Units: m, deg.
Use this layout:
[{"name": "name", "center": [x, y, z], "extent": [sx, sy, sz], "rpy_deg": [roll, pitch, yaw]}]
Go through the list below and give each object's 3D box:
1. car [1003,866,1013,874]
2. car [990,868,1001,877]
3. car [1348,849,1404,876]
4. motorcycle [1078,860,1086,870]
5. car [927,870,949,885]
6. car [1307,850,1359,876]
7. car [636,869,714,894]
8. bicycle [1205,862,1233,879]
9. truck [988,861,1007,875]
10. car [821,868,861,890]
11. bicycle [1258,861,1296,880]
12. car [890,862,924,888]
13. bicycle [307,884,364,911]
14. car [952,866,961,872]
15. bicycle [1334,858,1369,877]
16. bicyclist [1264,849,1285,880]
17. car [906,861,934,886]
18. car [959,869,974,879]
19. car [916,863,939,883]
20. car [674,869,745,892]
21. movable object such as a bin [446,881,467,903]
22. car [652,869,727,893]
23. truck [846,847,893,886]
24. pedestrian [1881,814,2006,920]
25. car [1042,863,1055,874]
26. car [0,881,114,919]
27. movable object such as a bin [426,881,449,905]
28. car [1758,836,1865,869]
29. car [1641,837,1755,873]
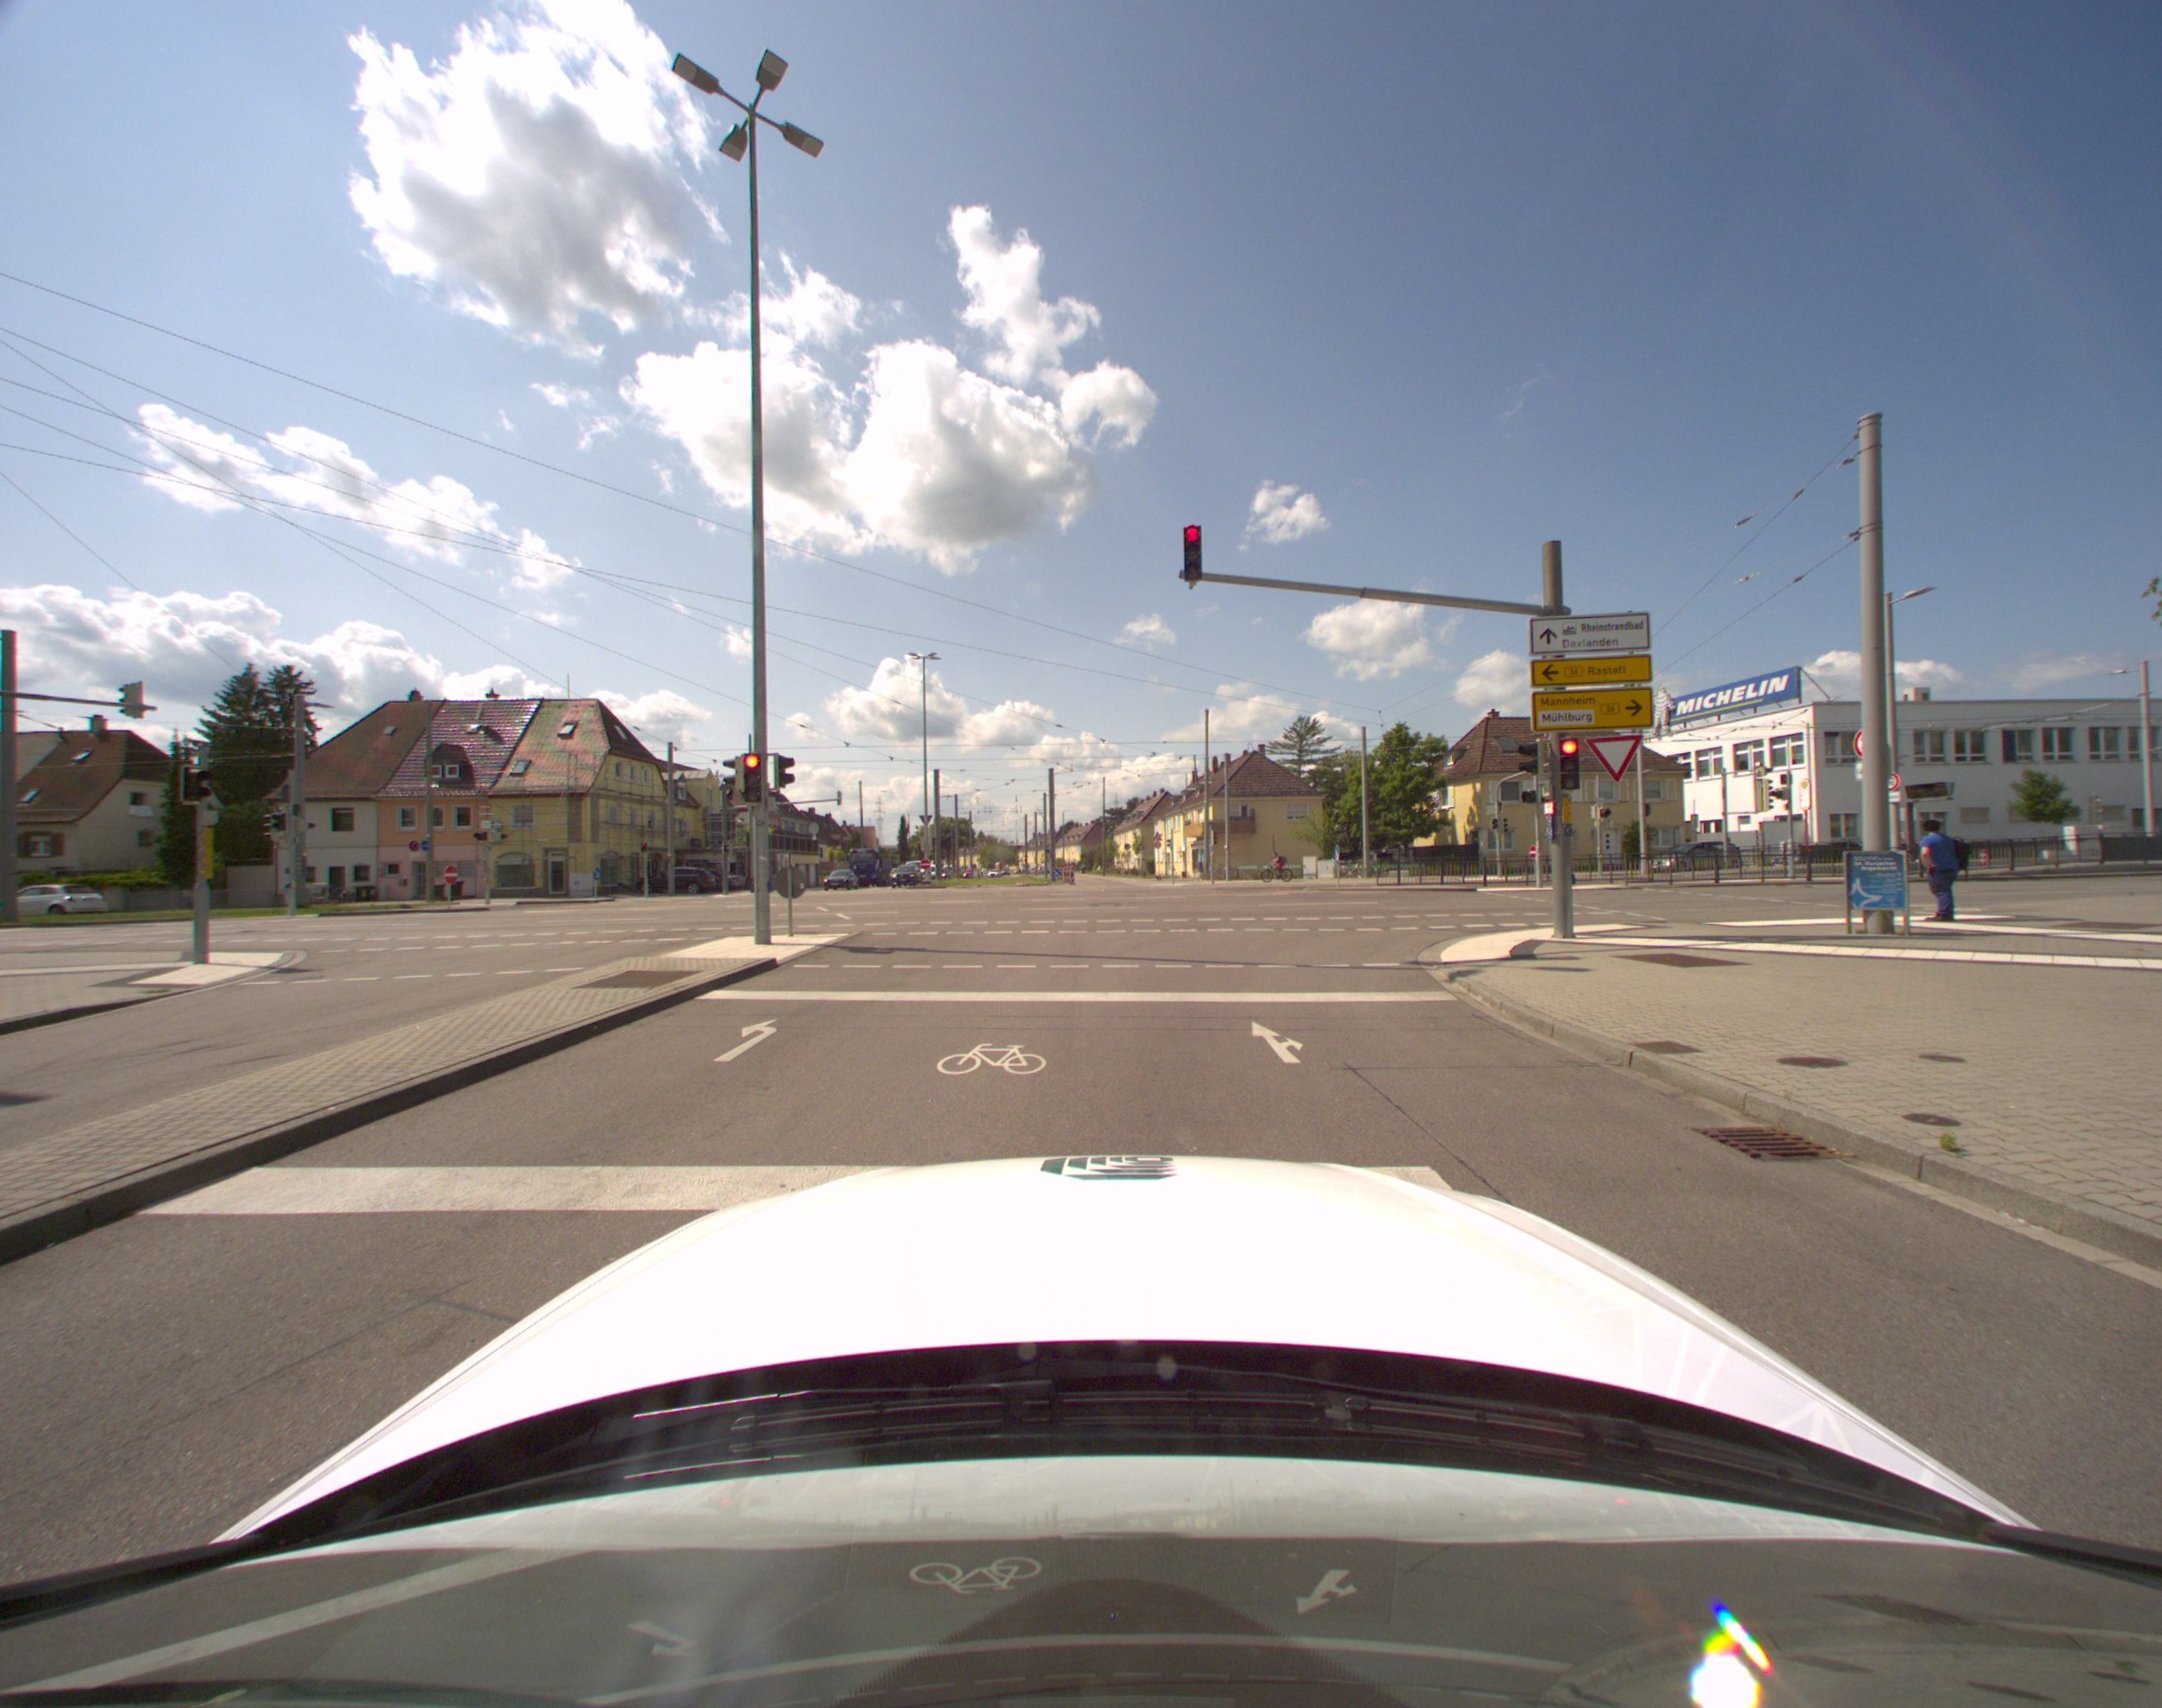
[{"name": "car", "center": [-15.423, 3.280, 171.636], "extent": [1.814, 1.552, 3.997], "rpy_deg": [-2, 0, -2]}, {"name": "car", "center": [-15.279, 3.304, 145.297], "extent": [1.840, 1.562, 4.180], "rpy_deg": [-2, -1, -5]}, {"name": "car", "center": [19.765, 0.586, 54.714], "extent": [1.821, 1.621, 3.989], "rpy_deg": [-1, -2, -8]}, {"name": "motorcycle", "center": [0.210, 1.812, 132.206], "extent": [1.065, 1.635, 2.079], "rpy_deg": [-1, -1, -6]}, {"name": "car", "center": [-14.252, 2.340, 81.290], "extent": [1.912, 1.419, 3.991], "rpy_deg": [-1, -1, -6]}, {"name": "car", "center": [16.975, 0.656, 55.144], "extent": [1.821, 1.621, 3.989], "rpy_deg": [-1, -2, -8]}, {"name": "car", "center": [-25.086, 1.715, 50.370], "extent": [4.129, 1.493, 1.176], "rpy_deg": [0, -1, -7]}, {"name": "bicycle", "center": [9.385, 1.135, 55.628], "extent": [0.596, 1.096, 2.255], "rpy_deg": [-1, -1, -28]}, {"name": "truck", "center": [-22.413, 3.830, 218.307], "extent": [2.651, 3.494, 9.368], "rpy_deg": [-1, -1, -21]}, {"name": "car", "center": [-17.236, 1.791, 58.642], "extent": [1.824, 1.487, 4.328], "rpy_deg": [-1, -1, -3]}, {"name": "bicycle", "center": [11.453, 0.963, 47.676], "extent": [2.025, 1.102, 0.713], "rpy_deg": [-1, -1, -8]}, {"name": "car", "center": [-12.778, 1.504, 60.018], "extent": [1.783, 1.720, 4.434], "rpy_deg": [-1, 0, -5]}, {"name": "bicycle", "center": [-40.804, 2.358, 44.640], "extent": [0.770, 1.356, 2.460], "rpy_deg": [0, -1, 3]}, {"name": "car", "center": [-38.817, 4.732, 253.437], "extent": [2.000, 1.910, 3.973], "rpy_deg": [-1, 0, -20]}, {"name": "bicycle", "center": [16.043, 0.809, 48.293], "extent": [1.785, 1.105, 0.707], "rpy_deg": [-2, -1, 41]}, {"name": "bicyclist", "center": [11.367, 0.636, 47.898], "extent": [0.956, 1.775, 0.718], "rpy_deg": [-1, -1, -7]}, {"name": "car", "center": [-13.104, 1.542, 66.446], "extent": [1.812, 1.922, 4.737], "rpy_deg": [-1, -1, -6]}, {"name": "car", "center": [-16.836, 2.913, 119.800], "extent": [1.840, 1.494, 4.847], "rpy_deg": [-2, -1, -5]}, {"name": "car", "center": [-13.977, 1.737, 74.341], "extent": [1.731, 1.782, 4.395], "rpy_deg": [-2, -1, -6]}, {"name": "car", "center": [-25.393, 1.794, 55.768], "extent": [4.129, 1.493, 1.431], "rpy_deg": [0, -1, -7]}, {"name": "movable object such as a bin", "center": [-35.349, 2.149, 46.107], "extent": [0.680, 1.260, 0.681], "rpy_deg": [0, -1, -2]}, {"name": "car", "center": [-25.449, 1.736, 53.056], "extent": [4.129, 1.493, 1.504], "rpy_deg": [0, -1, -7]}, {"name": "truck", "center": [-18.161, 1.099, 70.282], "extent": [2.765, 3.188, 7.565], "rpy_deg": [-1, -1, -6]}, {"name": "pedestrian", "center": [14.897, 0.214, 14.108], "extent": [1.027, 1.735, 1.040], "rpy_deg": [-1, 0, -2]}, {"name": "car", "center": [-6.388, 2.780, 157.633], "extent": [2.064, 2.149, 4.865], "rpy_deg": [-1, -1, -8]}, {"name": "car", "center": [-44.658, 1.980, 35.249], "extent": [3.533, 1.508, 1.583], "rpy_deg": [0, -1, -4]}, {"name": "movable object such as a bin", "center": [-35.375, 2.138, 44.771], "extent": [0.680, 1.260, 0.681], "rpy_deg": [0, -1, -2]}, {"name": "car", "center": [34.918, -0.070, 38.970], "extent": [3.698, 1.446, 1.576], "rpy_deg": [-2, -1, -1]}, {"name": "car", "center": [28.962, 0.060, 38.318], "extent": [3.974, 1.568, 1.842], "rpy_deg": [-2, -1, -1]}]
